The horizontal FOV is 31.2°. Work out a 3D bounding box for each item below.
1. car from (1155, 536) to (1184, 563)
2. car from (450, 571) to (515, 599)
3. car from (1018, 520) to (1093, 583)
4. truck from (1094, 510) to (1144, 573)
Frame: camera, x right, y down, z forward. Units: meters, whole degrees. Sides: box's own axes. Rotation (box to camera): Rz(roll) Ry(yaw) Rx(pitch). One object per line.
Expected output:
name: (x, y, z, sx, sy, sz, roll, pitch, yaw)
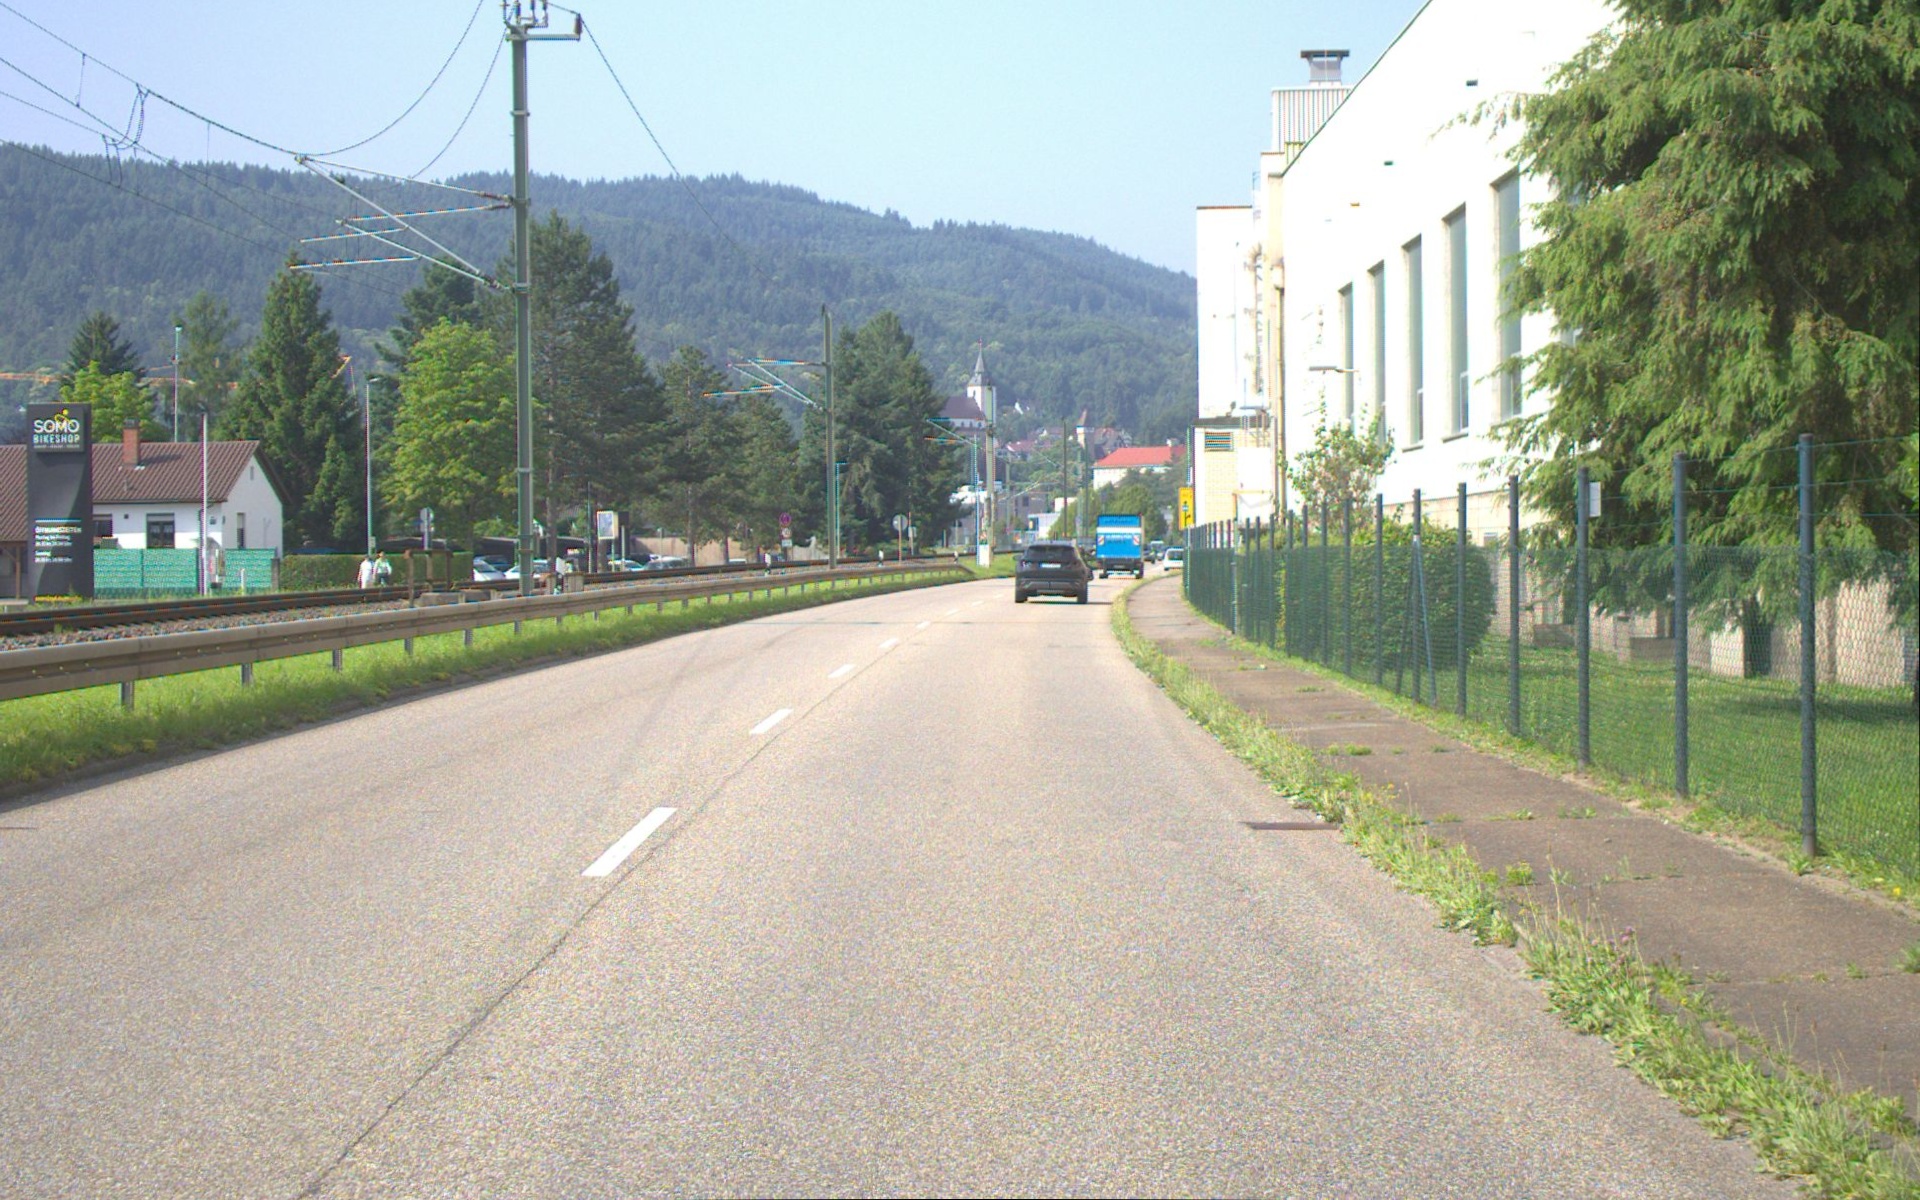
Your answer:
car: (13.842, -3.343, 226.911, 1.667, 1.816, 3.750, 0, 1, 7)
car: (-25.384, -0.793, 182.732, 1.683, 1.439, 3.851, -1, 1, -38)
car: (2.547, -1.278, 91.191, 1.919, 1.634, 4.000, 0, 1, 3)
truck: (7.639, -2.785, 164.634, 2.313, 2.960, 5.965, 0, 1, 4)
